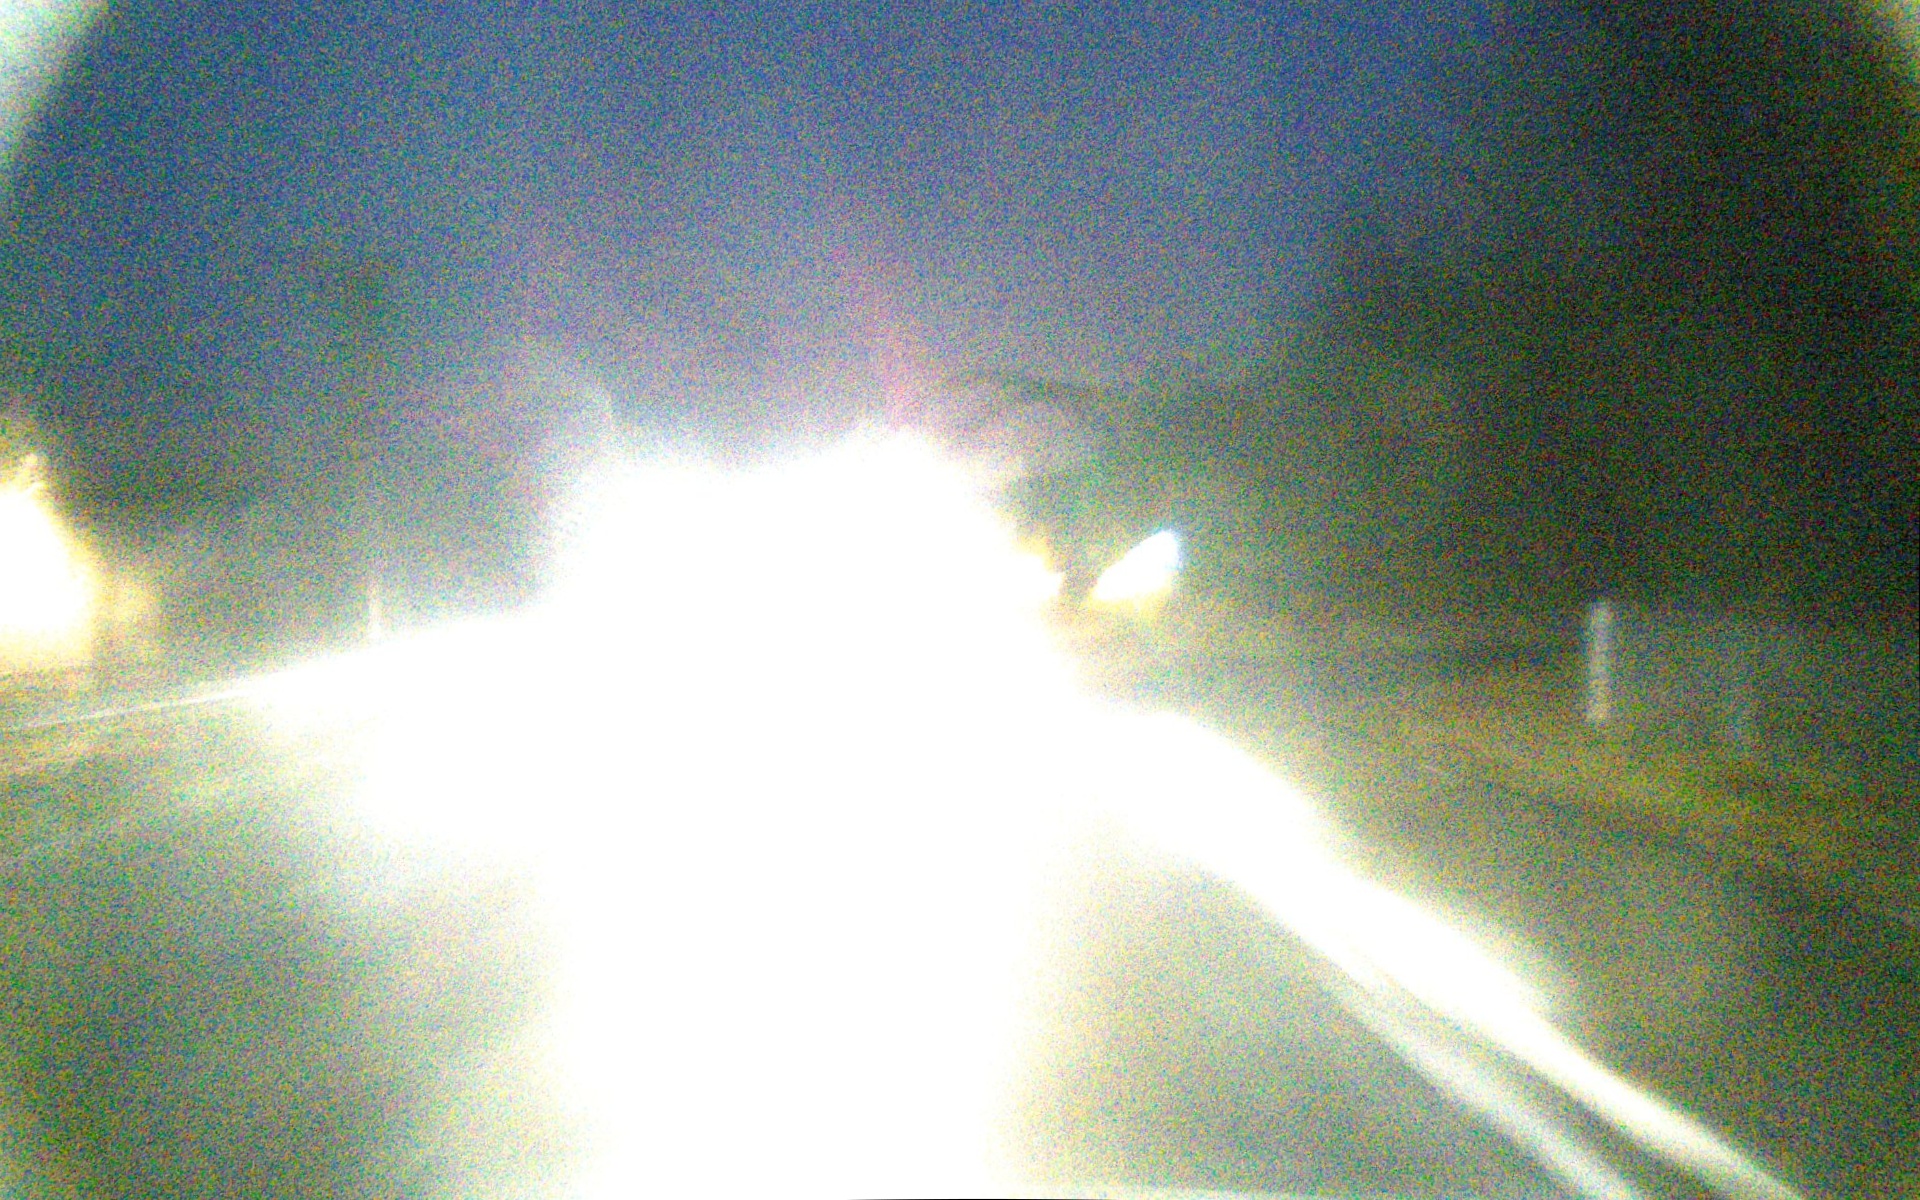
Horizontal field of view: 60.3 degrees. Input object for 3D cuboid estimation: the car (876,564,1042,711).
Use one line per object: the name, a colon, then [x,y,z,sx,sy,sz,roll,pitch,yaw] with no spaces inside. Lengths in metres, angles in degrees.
car: [0.027,0.557,29.635,2.659,2.348,6.101,0,1,1]

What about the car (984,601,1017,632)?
car: [2.614,1.073,107.459,1.953,1.948,3.999,2,-1,-1]

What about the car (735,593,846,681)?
car: [-3.412,0.738,34.006,1.851,1.666,4.155,-1,-1,0]
